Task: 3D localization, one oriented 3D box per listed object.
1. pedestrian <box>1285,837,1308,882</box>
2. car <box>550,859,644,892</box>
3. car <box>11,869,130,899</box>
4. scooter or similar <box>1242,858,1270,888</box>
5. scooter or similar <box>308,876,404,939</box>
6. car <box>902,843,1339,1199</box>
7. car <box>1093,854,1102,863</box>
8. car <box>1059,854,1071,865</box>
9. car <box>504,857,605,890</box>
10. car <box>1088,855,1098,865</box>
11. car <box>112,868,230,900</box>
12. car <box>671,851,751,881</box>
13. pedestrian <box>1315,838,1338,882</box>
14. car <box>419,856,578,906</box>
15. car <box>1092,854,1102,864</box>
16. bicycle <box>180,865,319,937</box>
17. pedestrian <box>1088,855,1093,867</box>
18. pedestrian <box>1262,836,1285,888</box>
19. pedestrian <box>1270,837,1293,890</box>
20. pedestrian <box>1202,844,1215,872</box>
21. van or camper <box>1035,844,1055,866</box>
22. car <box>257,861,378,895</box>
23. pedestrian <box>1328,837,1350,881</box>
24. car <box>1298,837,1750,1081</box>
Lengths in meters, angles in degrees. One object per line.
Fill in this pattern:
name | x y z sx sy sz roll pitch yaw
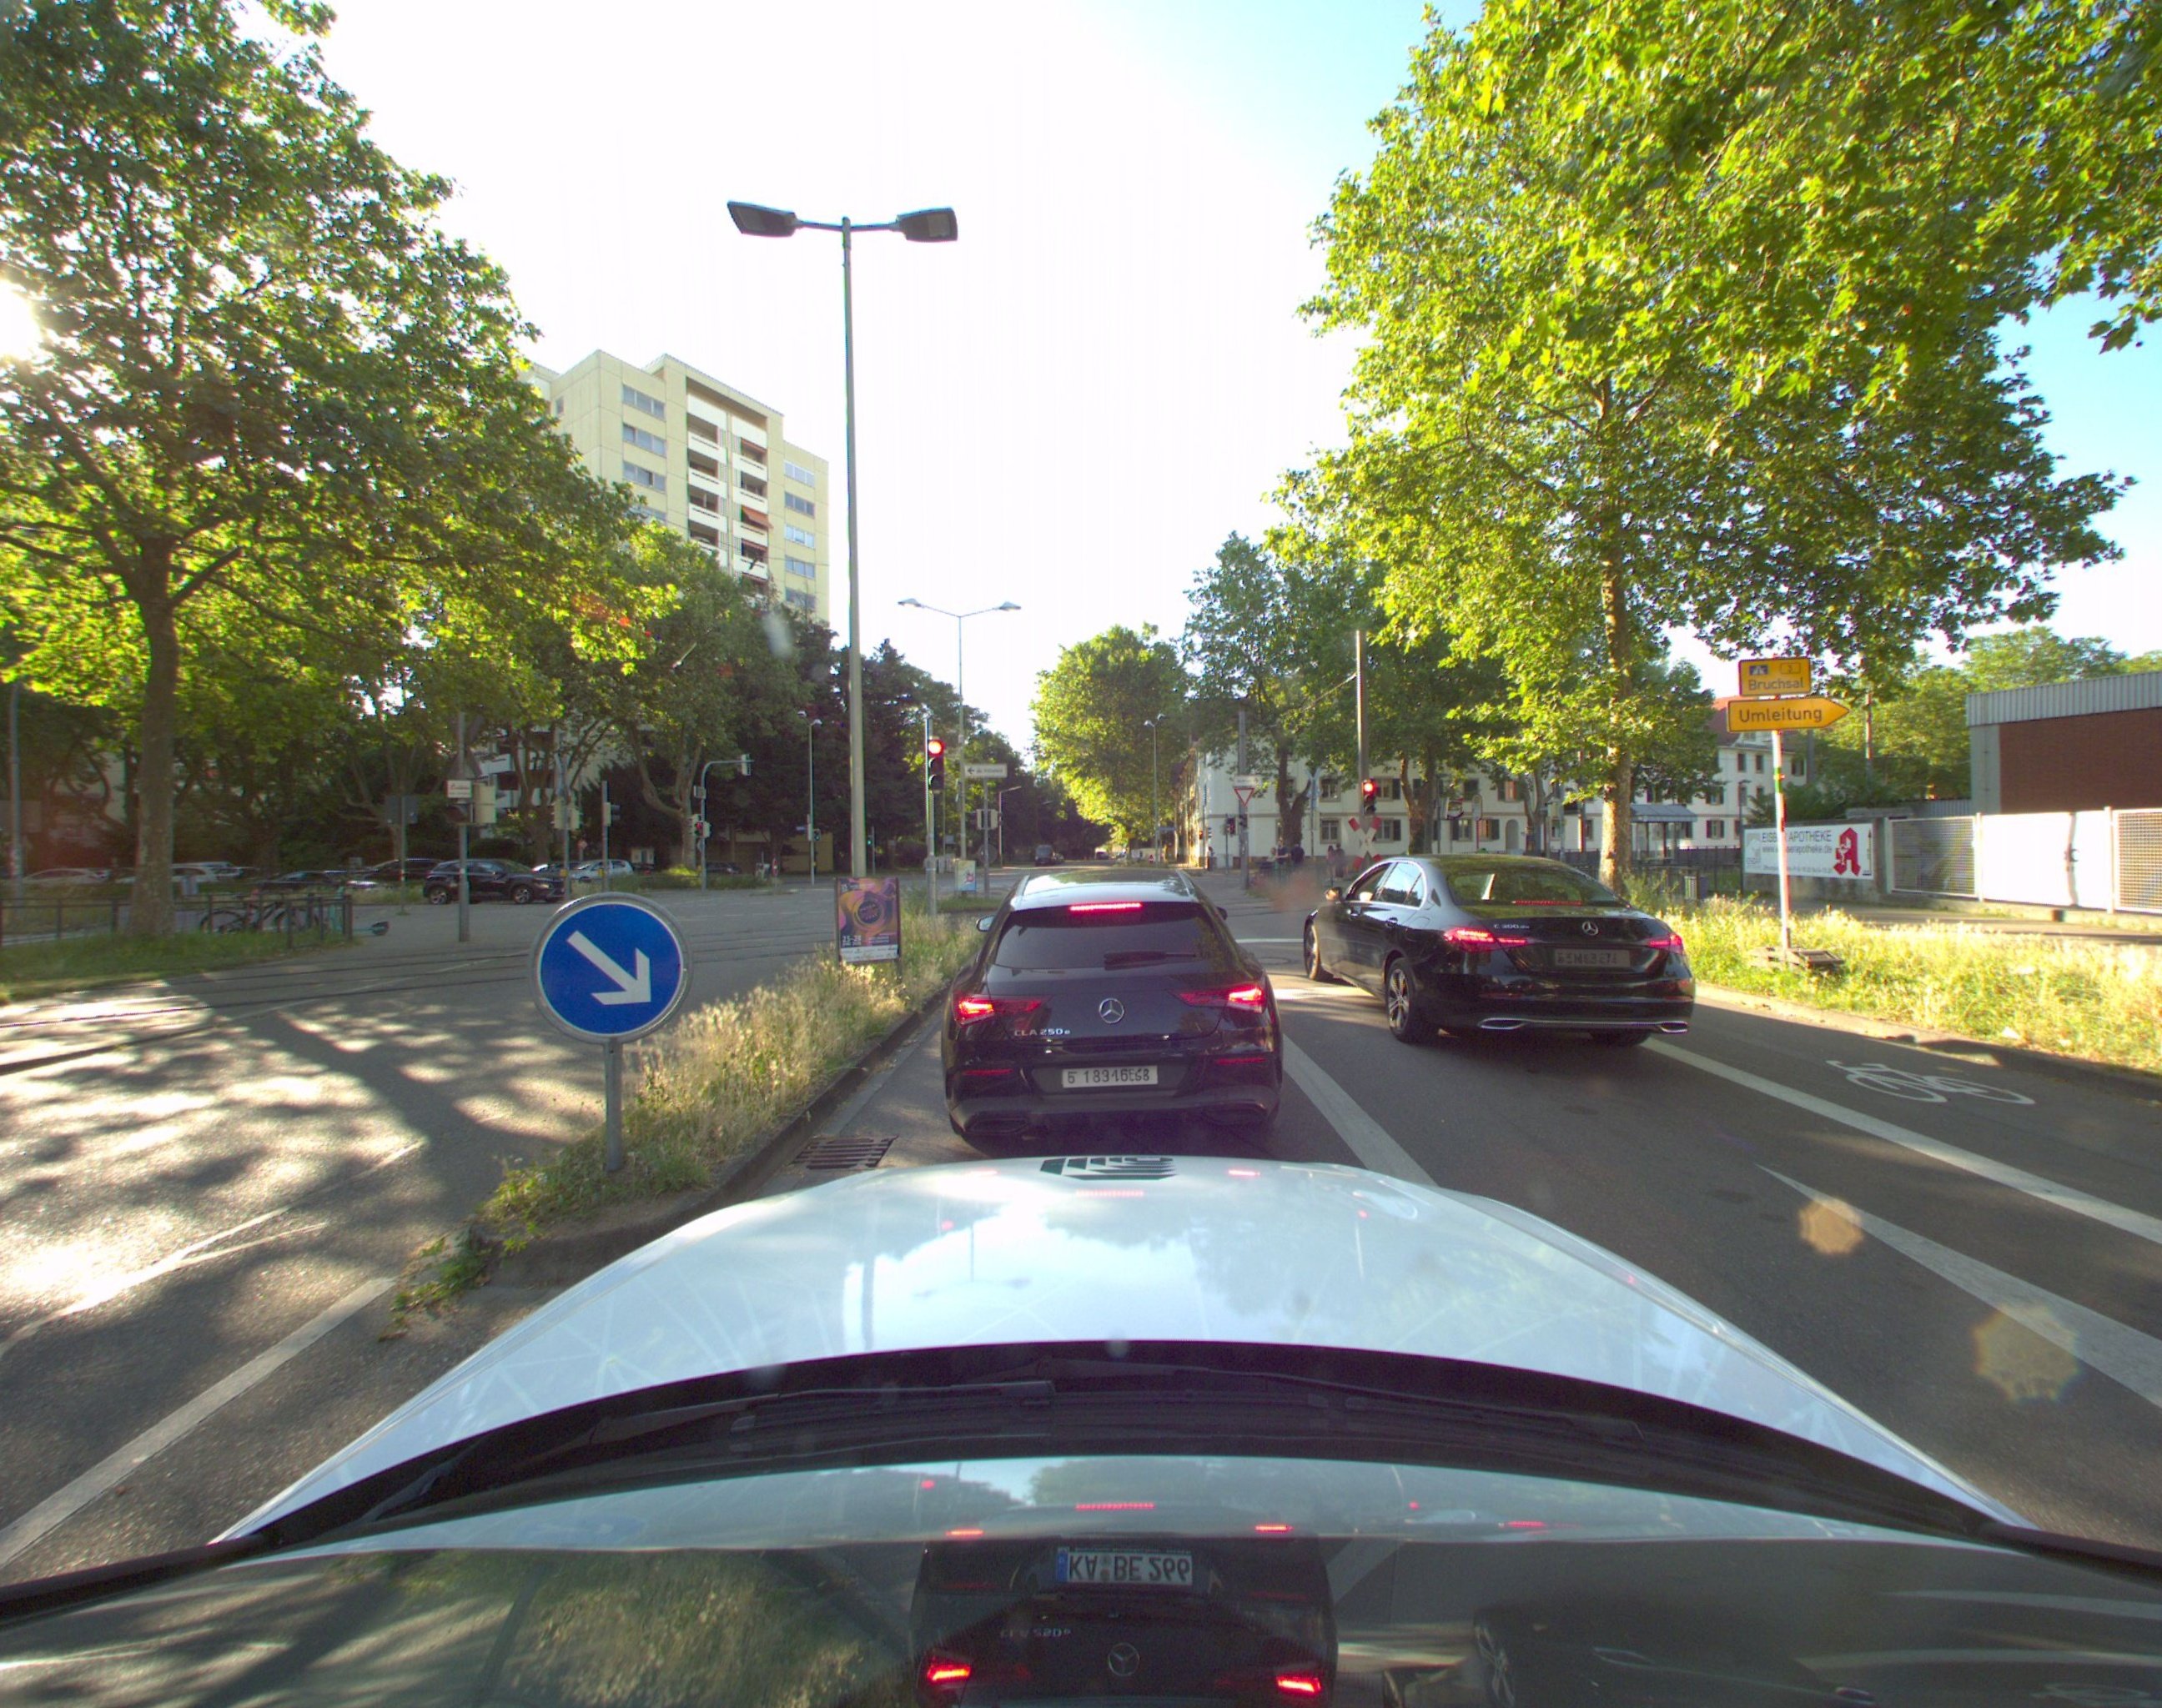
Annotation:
pedestrian | 9.244 0.244 34.946 0.703 1.918 0.838 0 -1 -2
car | -24.926 1.066 42.039 1.716 1.596 3.831 -1 -1 32
car | -57.103 1.665 46.088 1.716 1.596 4.025 -1 -1 32
scooter or similar | 6.514 0.702 30.408 0.826 1.104 0.808 0 -1 -4
scooter or similar | -15.097 1.094 16.994 0.408 1.239 1.450 -1 -1 40
car | 0.279 0.697 5.524 1.881 1.450 4.004 0 2 3
car | 3.250 0.904 158.634 1.727 1.765 4.020 0 -1 2
car | -2.469 0.829 126.687 1.727 1.765 3.972 0 -1 2
car | -27.155 0.973 42.132 1.716 1.596 4.025 -1 -1 32
car | 2.105 1.009 145.699 1.727 1.765 4.020 0 -1 2
car | -49.163 1.587 44.085 1.716 1.596 4.025 -1 -1 32
car | -22.642 0.746 49.937 3.963 1.774 2.005 -1 -1 9
pedestrian | 10.719 0.258 35.569 0.703 1.918 0.838 0 -1 -2
car | -19.413 0.881 27.297 3.981 1.596 1.735 0 -1 -5
car | 2.919 0.982 150.552 1.727 1.765 4.020 0 -1 2
bicycle | -15.957 0.879 15.682 1.845 1.307 0.380 0 -1 -26
pedestrian | 1.540 1.053 130.211 0.704 1.918 0.837 0 -1 -8
pedestrian | 7.285 0.297 30.869 0.681 1.918 0.707 0 -1 -2
pedestrian | 7.409 0.342 30.093 0.680 1.918 0.707 0 -1 0
pedestrian | 8.624 0.276 55.072 0.703 1.918 0.838 0 -1 -2
van or camper | -4.417 0.130 100.061 1.986 2.541 4.653 0 -1 2
car | -37.417 1.145 40.011 1.716 1.596 4.025 -1 -1 32
pedestrian | 11.570 0.229 36.549 0.703 1.918 0.838 0 -1 -2
car | 3.378 0.621 7.351 1.882 1.490 4.385 0 2 3
